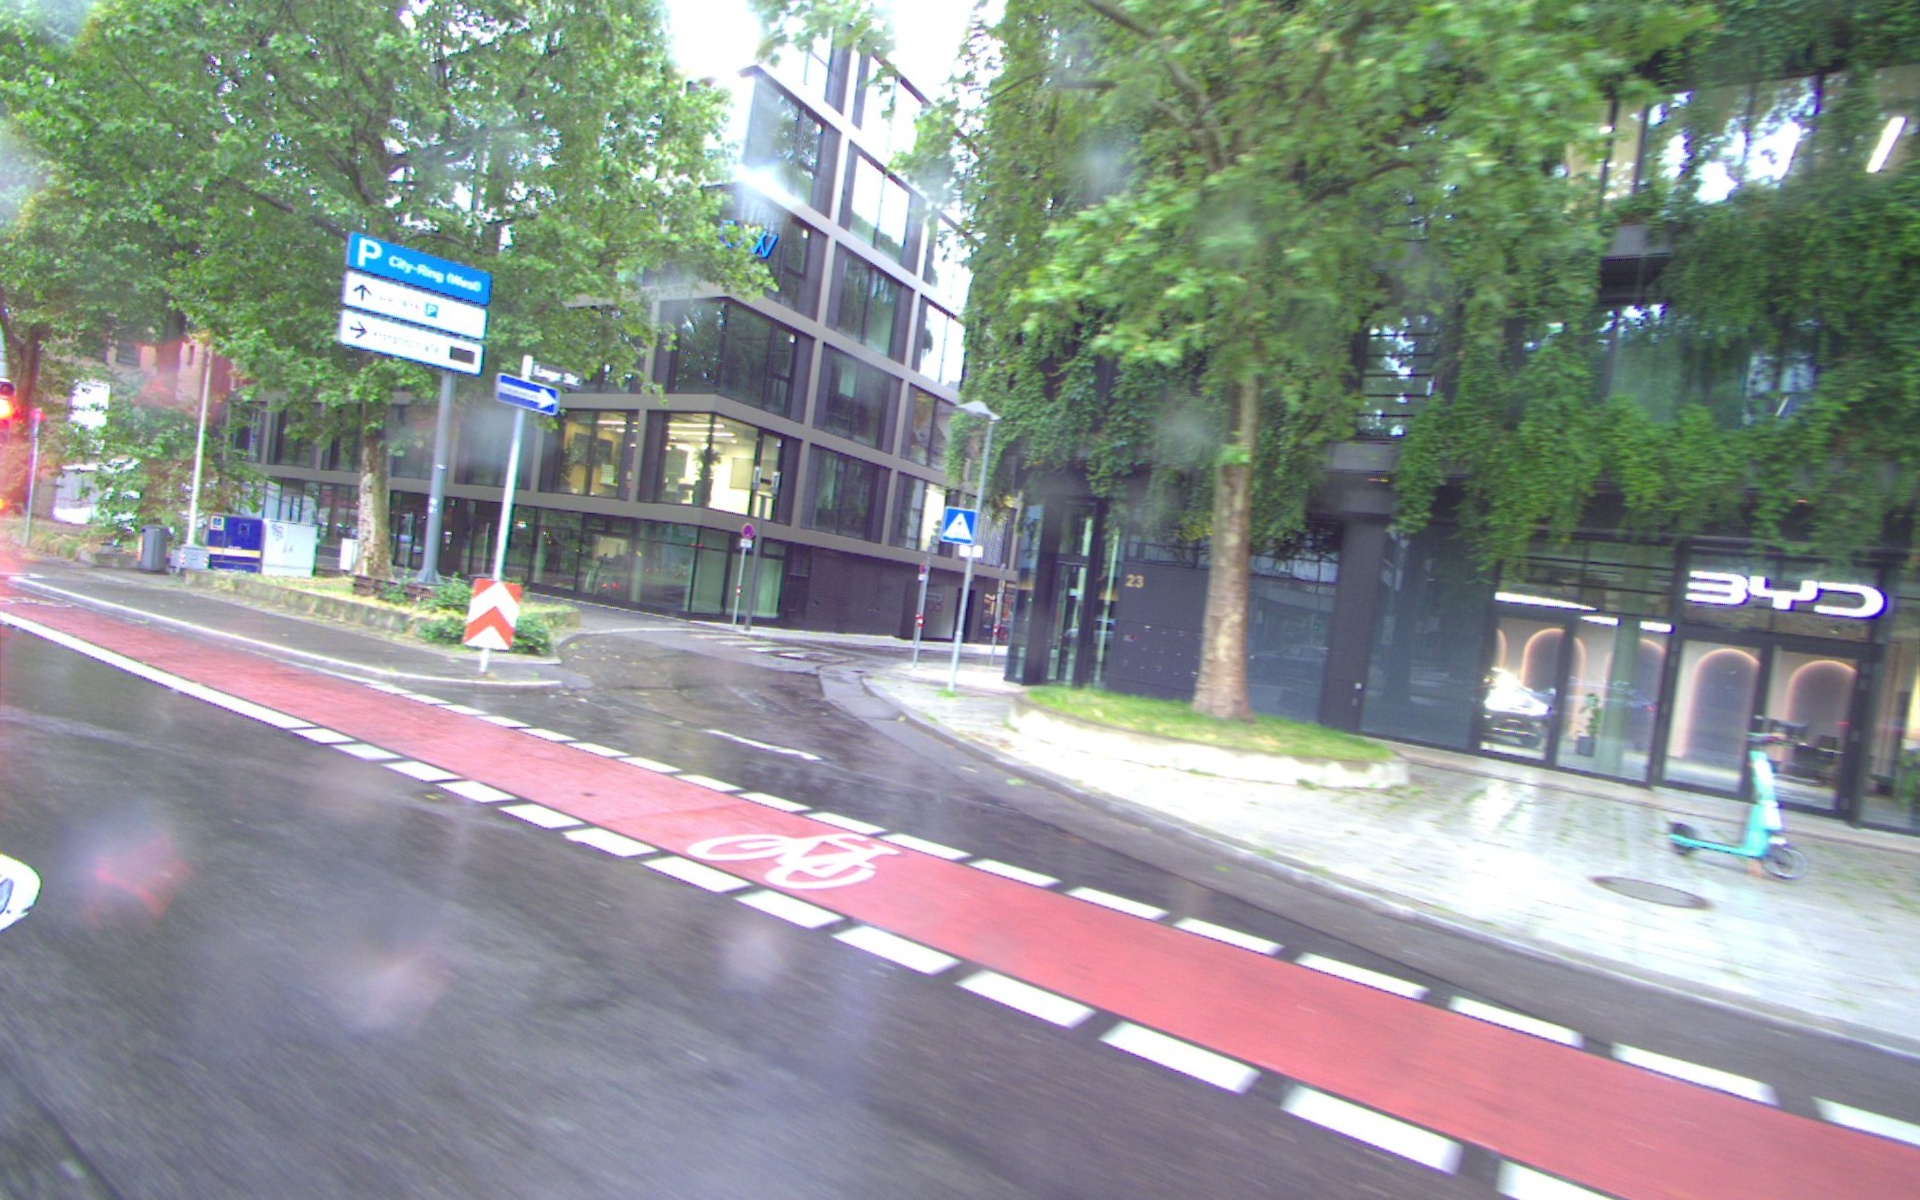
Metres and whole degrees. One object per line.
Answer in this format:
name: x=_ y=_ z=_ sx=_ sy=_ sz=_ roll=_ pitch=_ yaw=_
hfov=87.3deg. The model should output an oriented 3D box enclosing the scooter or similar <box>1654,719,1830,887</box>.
scooter or similar: x=6.928 y=1.775 z=8.960 sx=0.376 sy=1.243 sz=1.074 roll=7 pitch=0 yaw=-20
